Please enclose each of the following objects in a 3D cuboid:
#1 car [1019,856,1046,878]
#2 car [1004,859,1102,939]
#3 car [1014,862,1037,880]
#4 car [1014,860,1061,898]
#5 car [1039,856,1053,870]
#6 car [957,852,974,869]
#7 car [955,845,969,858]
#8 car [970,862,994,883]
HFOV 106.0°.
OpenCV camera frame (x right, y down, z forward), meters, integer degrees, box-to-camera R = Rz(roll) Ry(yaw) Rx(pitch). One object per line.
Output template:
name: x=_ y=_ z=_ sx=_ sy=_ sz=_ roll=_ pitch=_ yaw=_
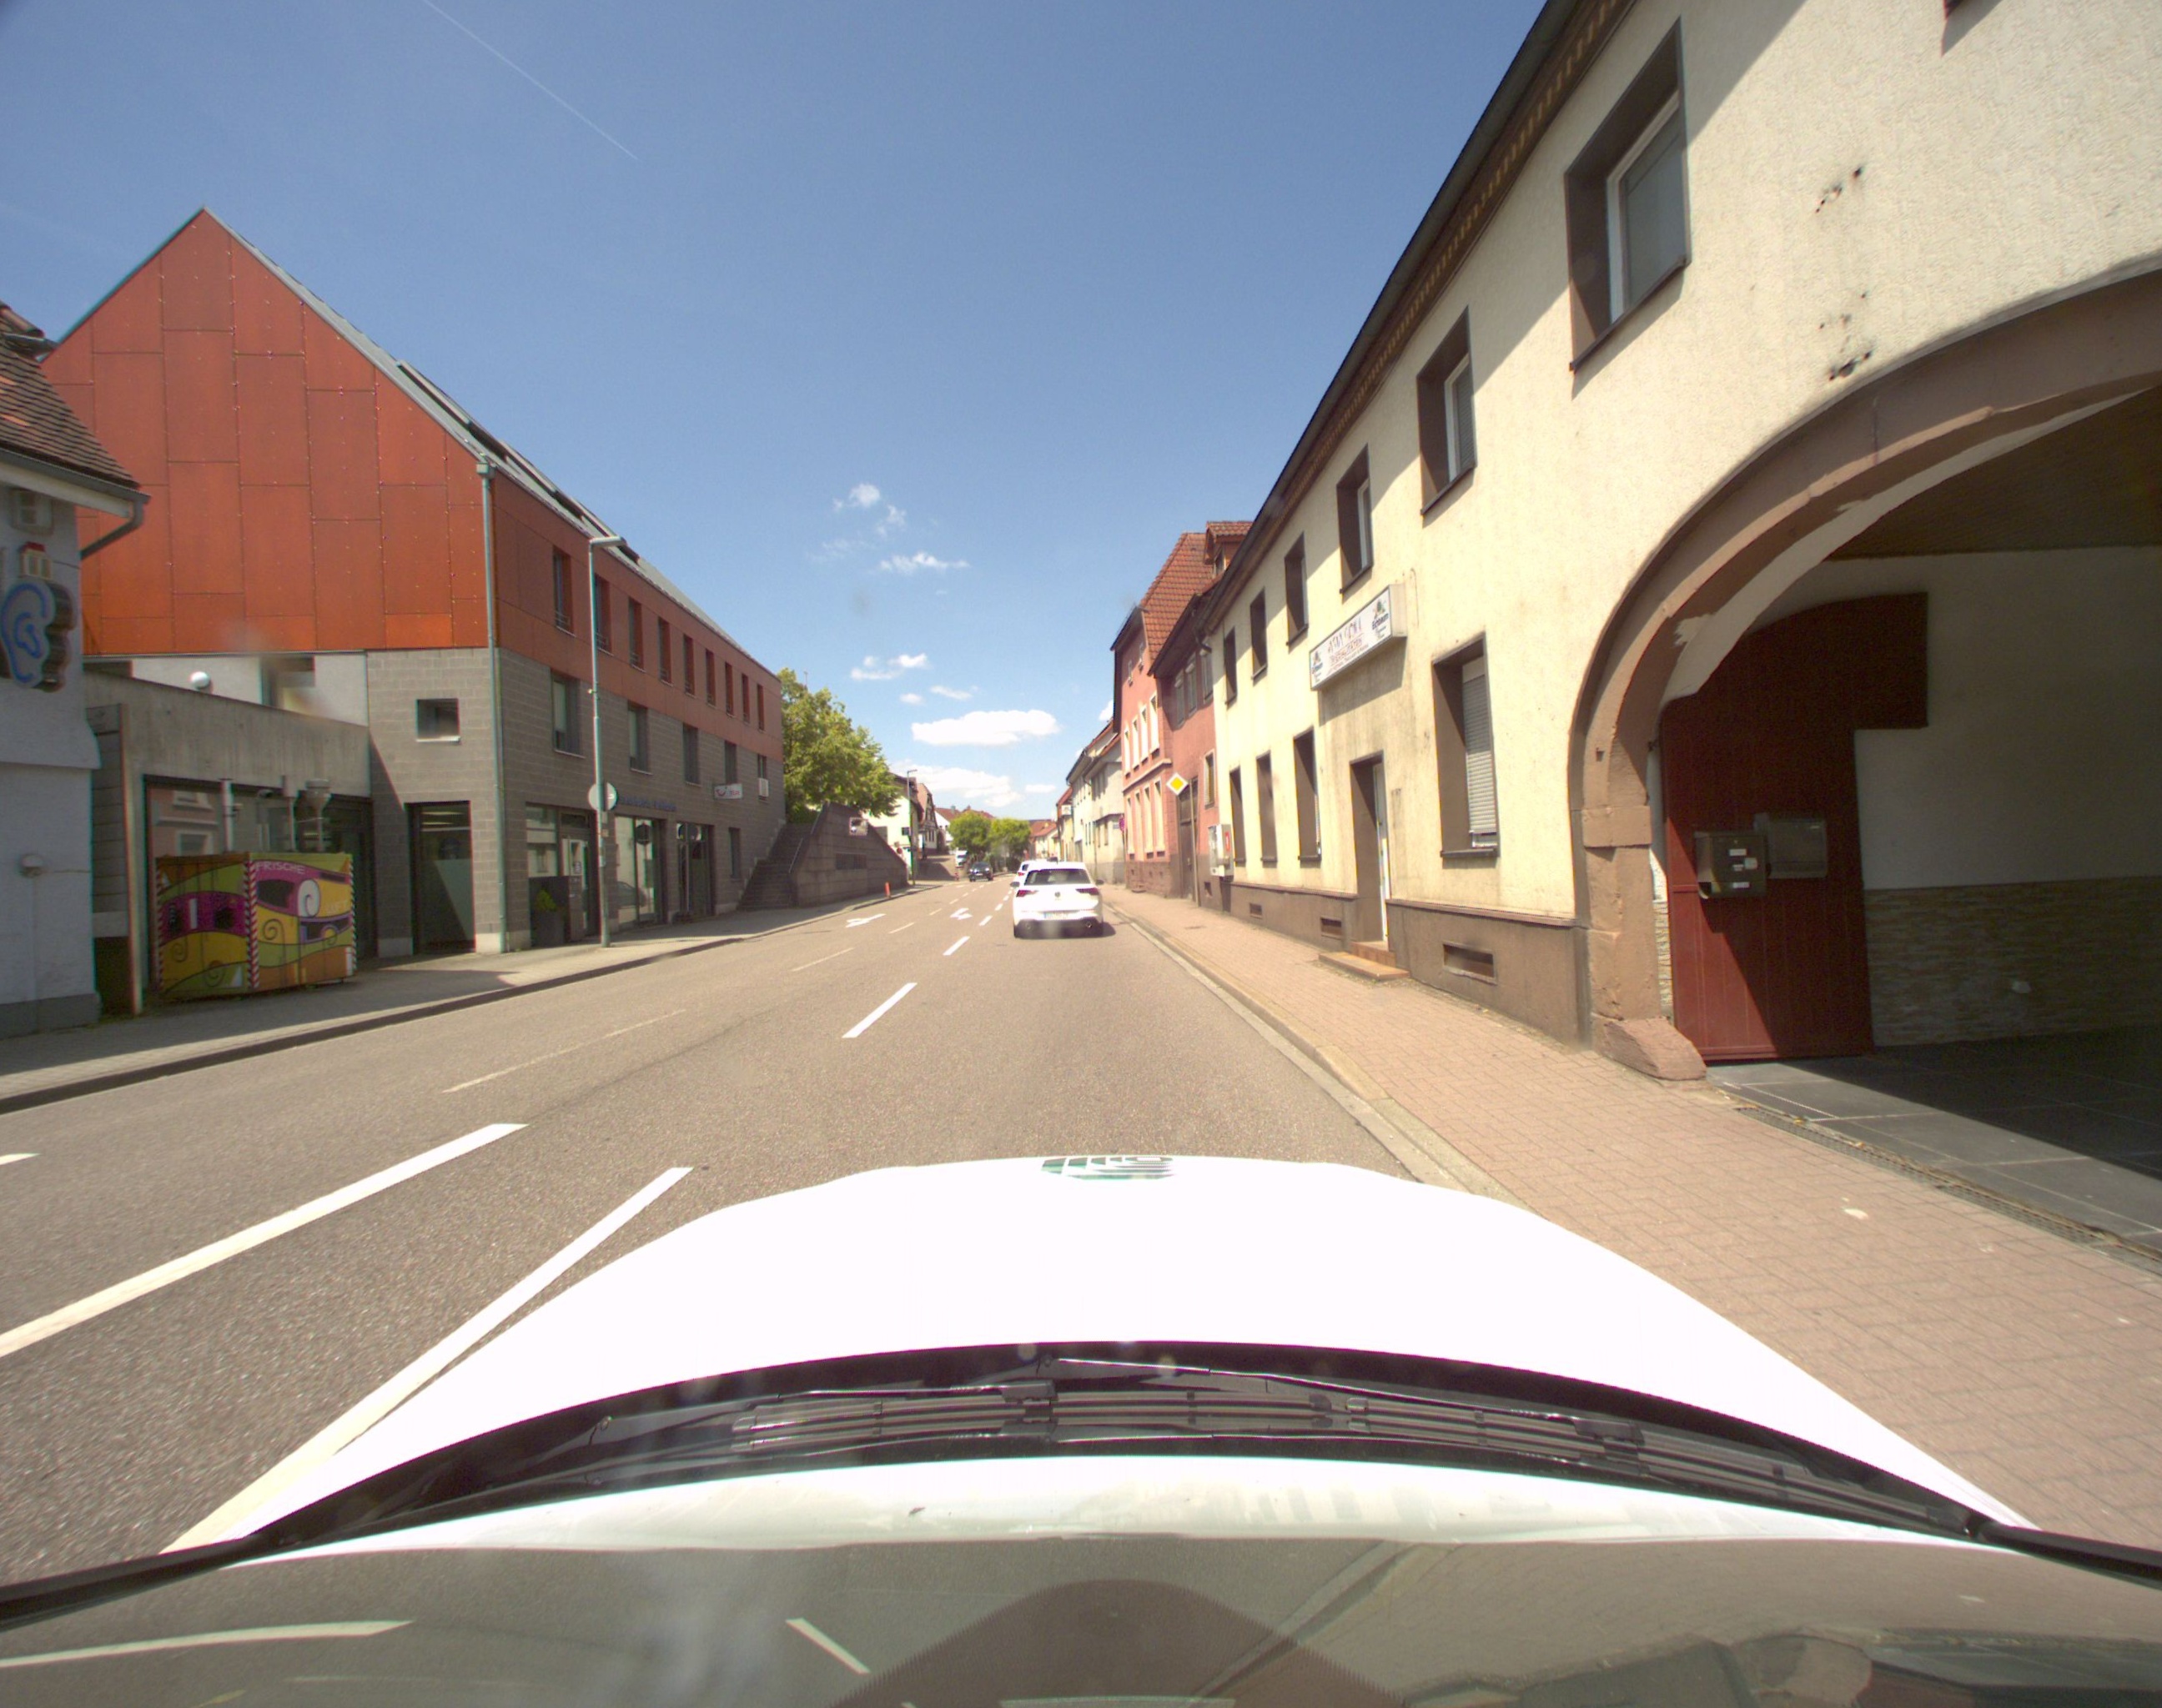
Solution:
car: x=-3.382 y=0.892 z=56.300 sx=1.804 sy=1.468 sz=3.993 roll=-1 pitch=-1 yaw=-4
car: x=-0.494 y=0.863 z=17.086 sx=1.801 sy=1.468 sz=4.000 roll=-1 pitch=-1 yaw=0
car: x=-4.826 y=1.466 z=71.384 sx=1.771 sy=1.538 sz=3.997 roll=-2 pitch=0 yaw=-2
car: x=-1.859 y=0.998 z=33.887 sx=1.805 sy=1.468 sz=3.993 roll=-1 pitch=-1 yaw=-5
car: x=-4.720 y=1.164 z=109.120 sx=1.771 sy=1.765 sz=3.996 roll=-2 pitch=0 yaw=-3
car: x=-13.646 y=0.774 z=96.342 sx=1.691 sy=1.542 sz=3.851 roll=-2 pitch=5 yaw=-5
car: x=-15.845 y=-0.319 z=108.554 sx=1.574 sy=1.361 sz=3.851 roll=-2 pitch=5 yaw=-5
car: x=-8.104 y=1.491 z=66.829 sx=1.667 sy=1.657 sz=4.011 roll=-2 pitch=0 yaw=-4
